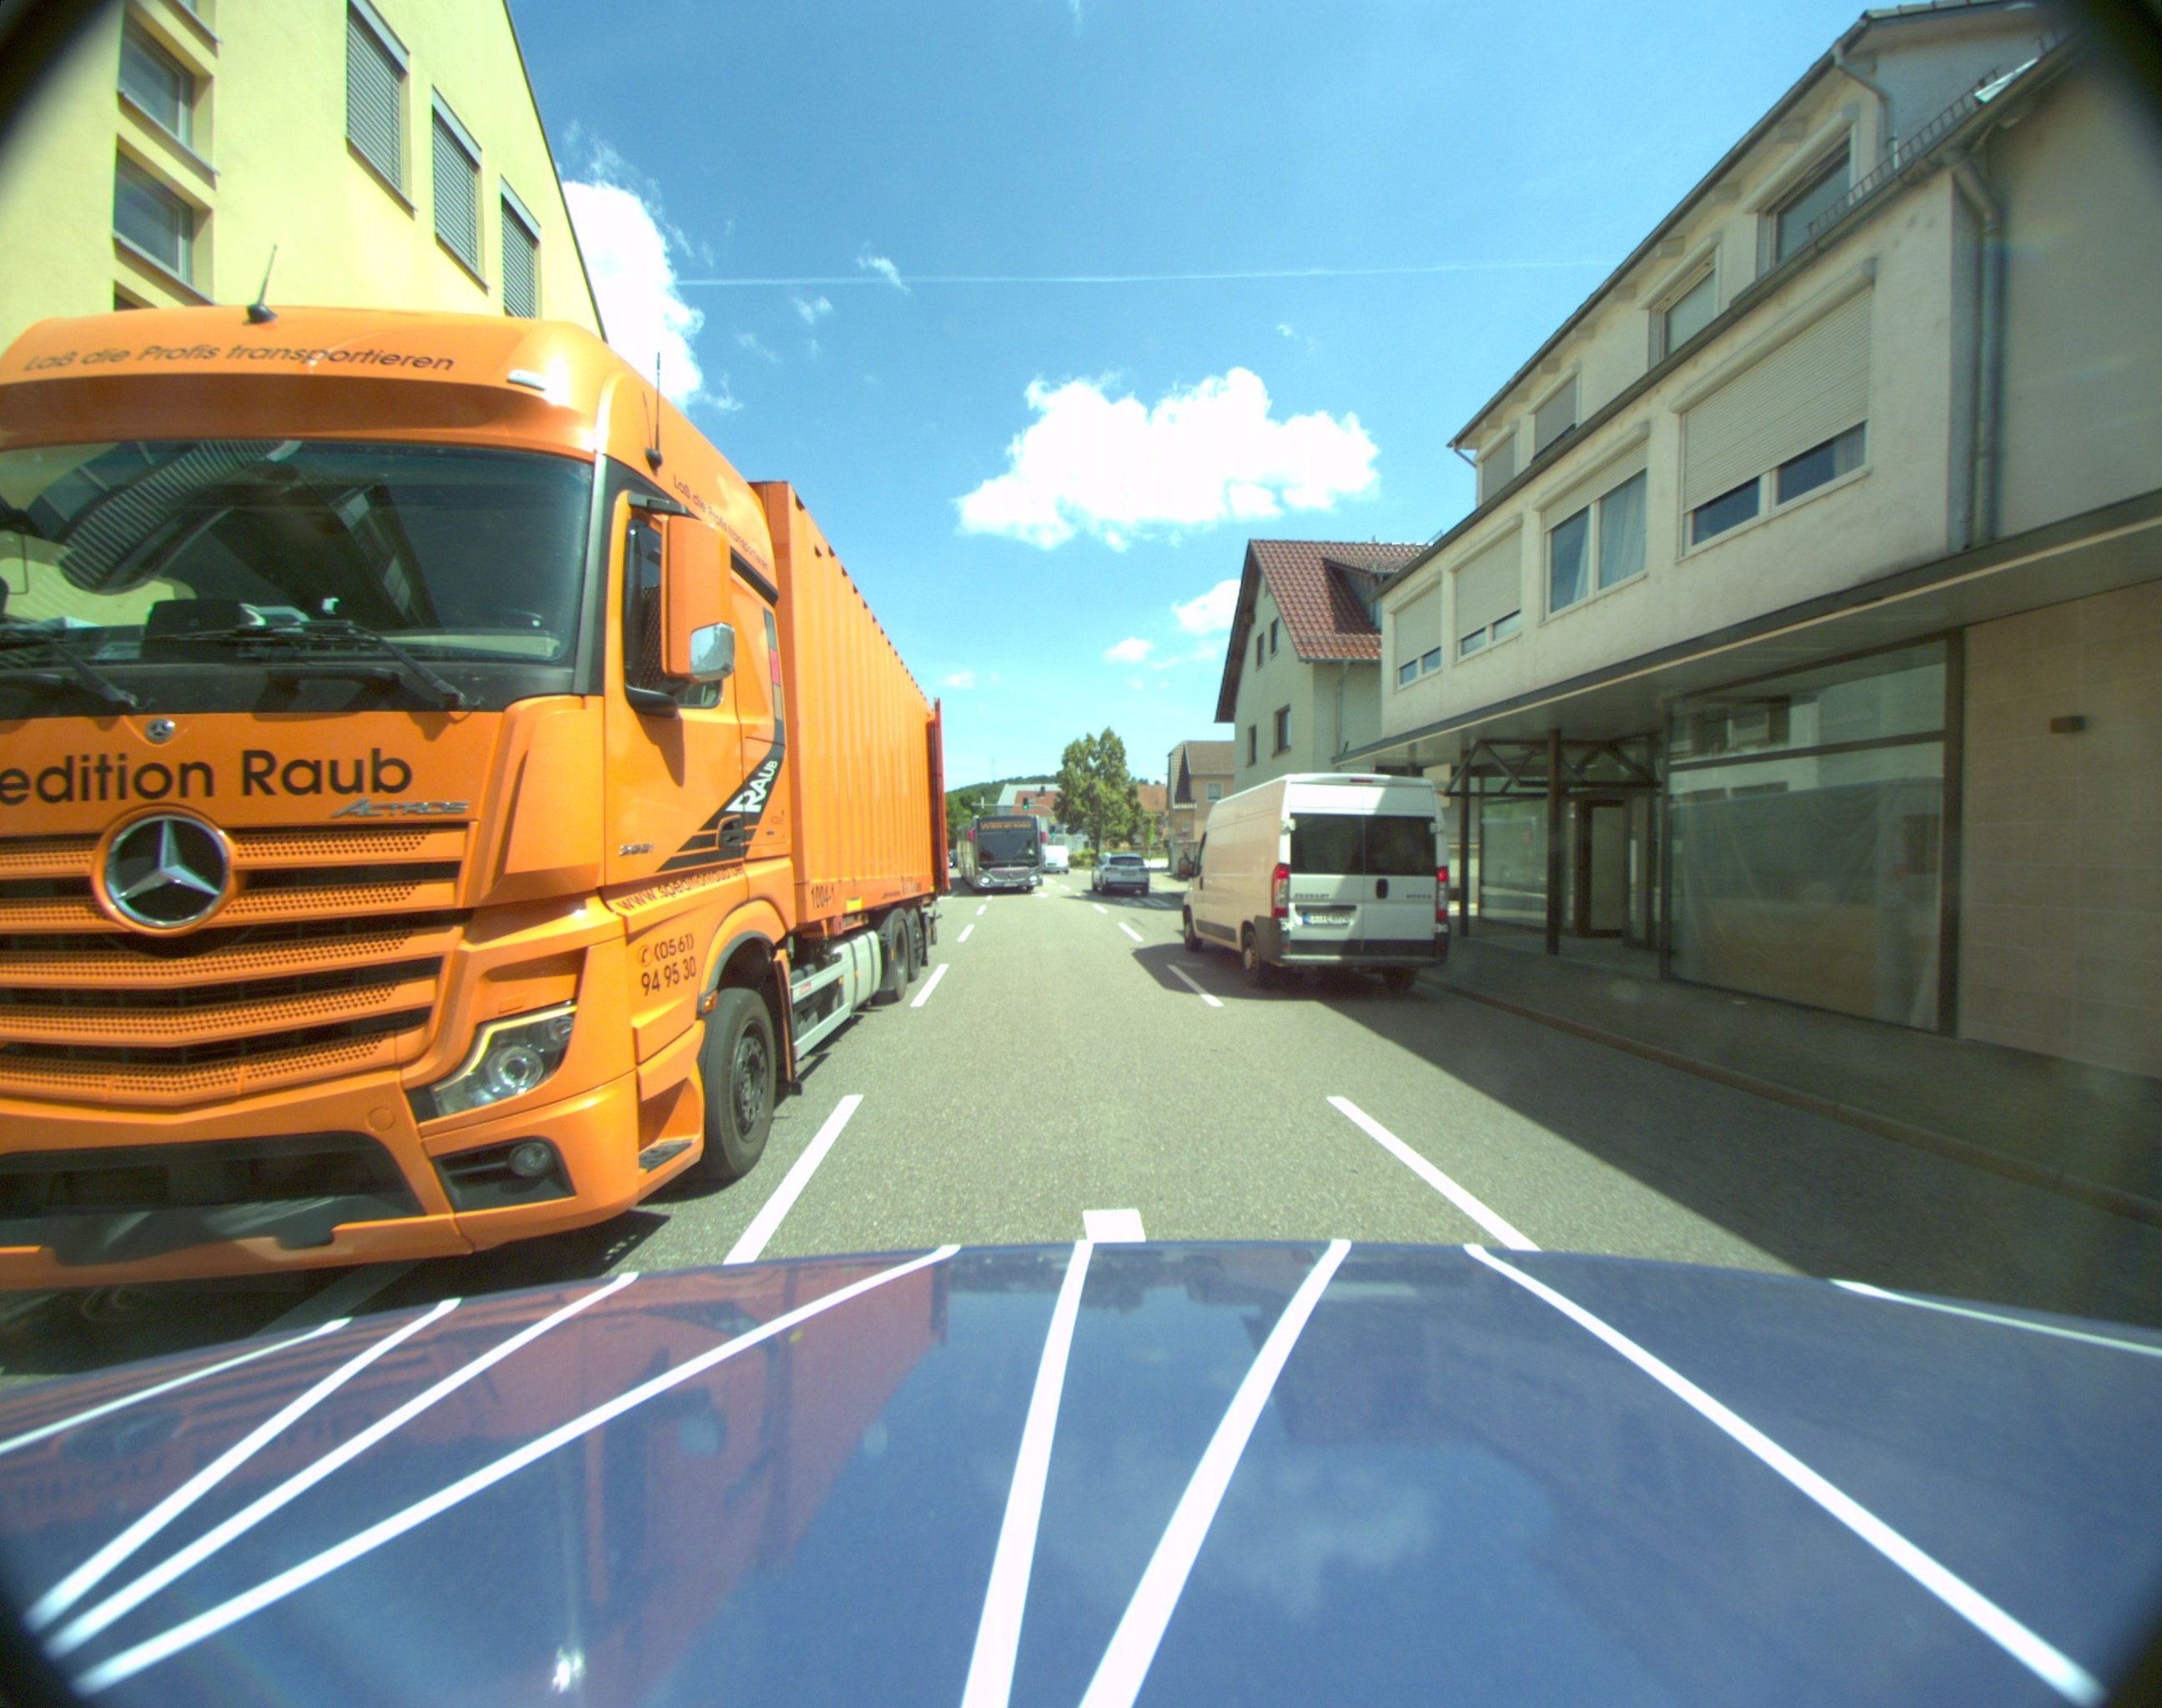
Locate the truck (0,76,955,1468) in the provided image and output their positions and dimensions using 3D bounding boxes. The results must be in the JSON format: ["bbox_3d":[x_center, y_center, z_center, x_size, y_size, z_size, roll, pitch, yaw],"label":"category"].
[{"bbox_3d":[-3.190,-0.185,7.138,2.615,3.922,9.990,-3,0,-3],"label":"truck"}]

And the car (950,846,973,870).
[{"bbox_3d":[-10.083,0.303,63.842,1.789,1.819,4.347,1,1,-11],"label":"car"}]

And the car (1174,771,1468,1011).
[{"bbox_3d":[2.924,0.410,10.870,2.146,2.554,5.391,1,0,-4],"label":"car"}]

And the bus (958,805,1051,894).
[{"bbox_3d":[-4.283,-0.211,37.039,2.861,3.186,19.013,-1,0,-10],"label":"bus"}]

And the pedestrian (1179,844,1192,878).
[{"bbox_3d":[5.372,0.341,39.119,0.472,1.754,0.478,-1,2,-25],"label":"pedestrian"}]

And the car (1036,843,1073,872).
[{"bbox_3d":[-1.819,0.210,50.606,1.789,1.819,4.595,1,1,-11],"label":"car"}]

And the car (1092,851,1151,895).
[{"bbox_3d":[1.518,0.692,30.064,1.823,1.546,4.196,1,1,-3],"label":"car"}]
